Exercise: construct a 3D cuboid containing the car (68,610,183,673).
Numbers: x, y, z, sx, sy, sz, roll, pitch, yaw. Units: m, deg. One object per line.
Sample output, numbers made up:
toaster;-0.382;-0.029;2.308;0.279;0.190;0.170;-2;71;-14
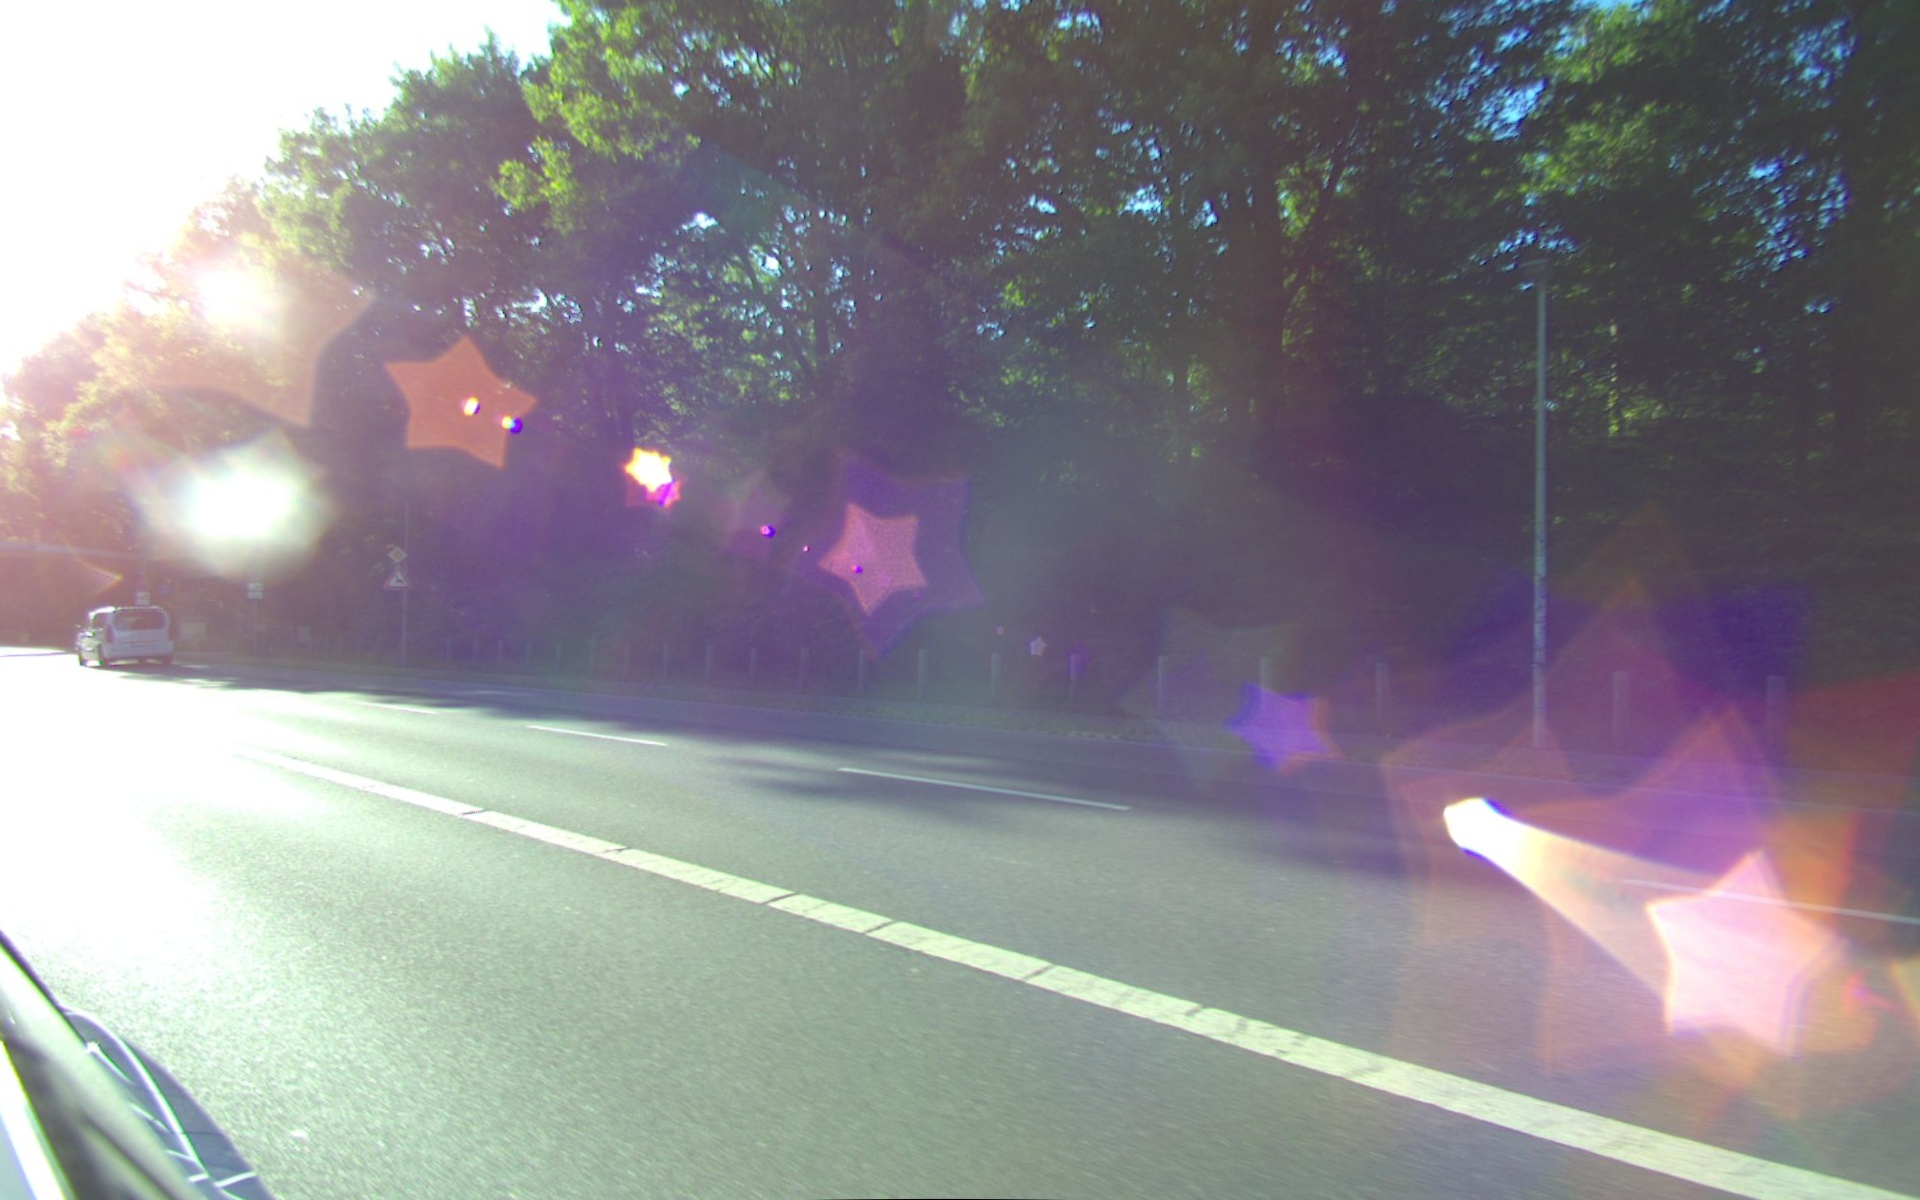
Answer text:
car;-26.878;1.283;32.538;4.996;1.840;1.981;-1;0;40
